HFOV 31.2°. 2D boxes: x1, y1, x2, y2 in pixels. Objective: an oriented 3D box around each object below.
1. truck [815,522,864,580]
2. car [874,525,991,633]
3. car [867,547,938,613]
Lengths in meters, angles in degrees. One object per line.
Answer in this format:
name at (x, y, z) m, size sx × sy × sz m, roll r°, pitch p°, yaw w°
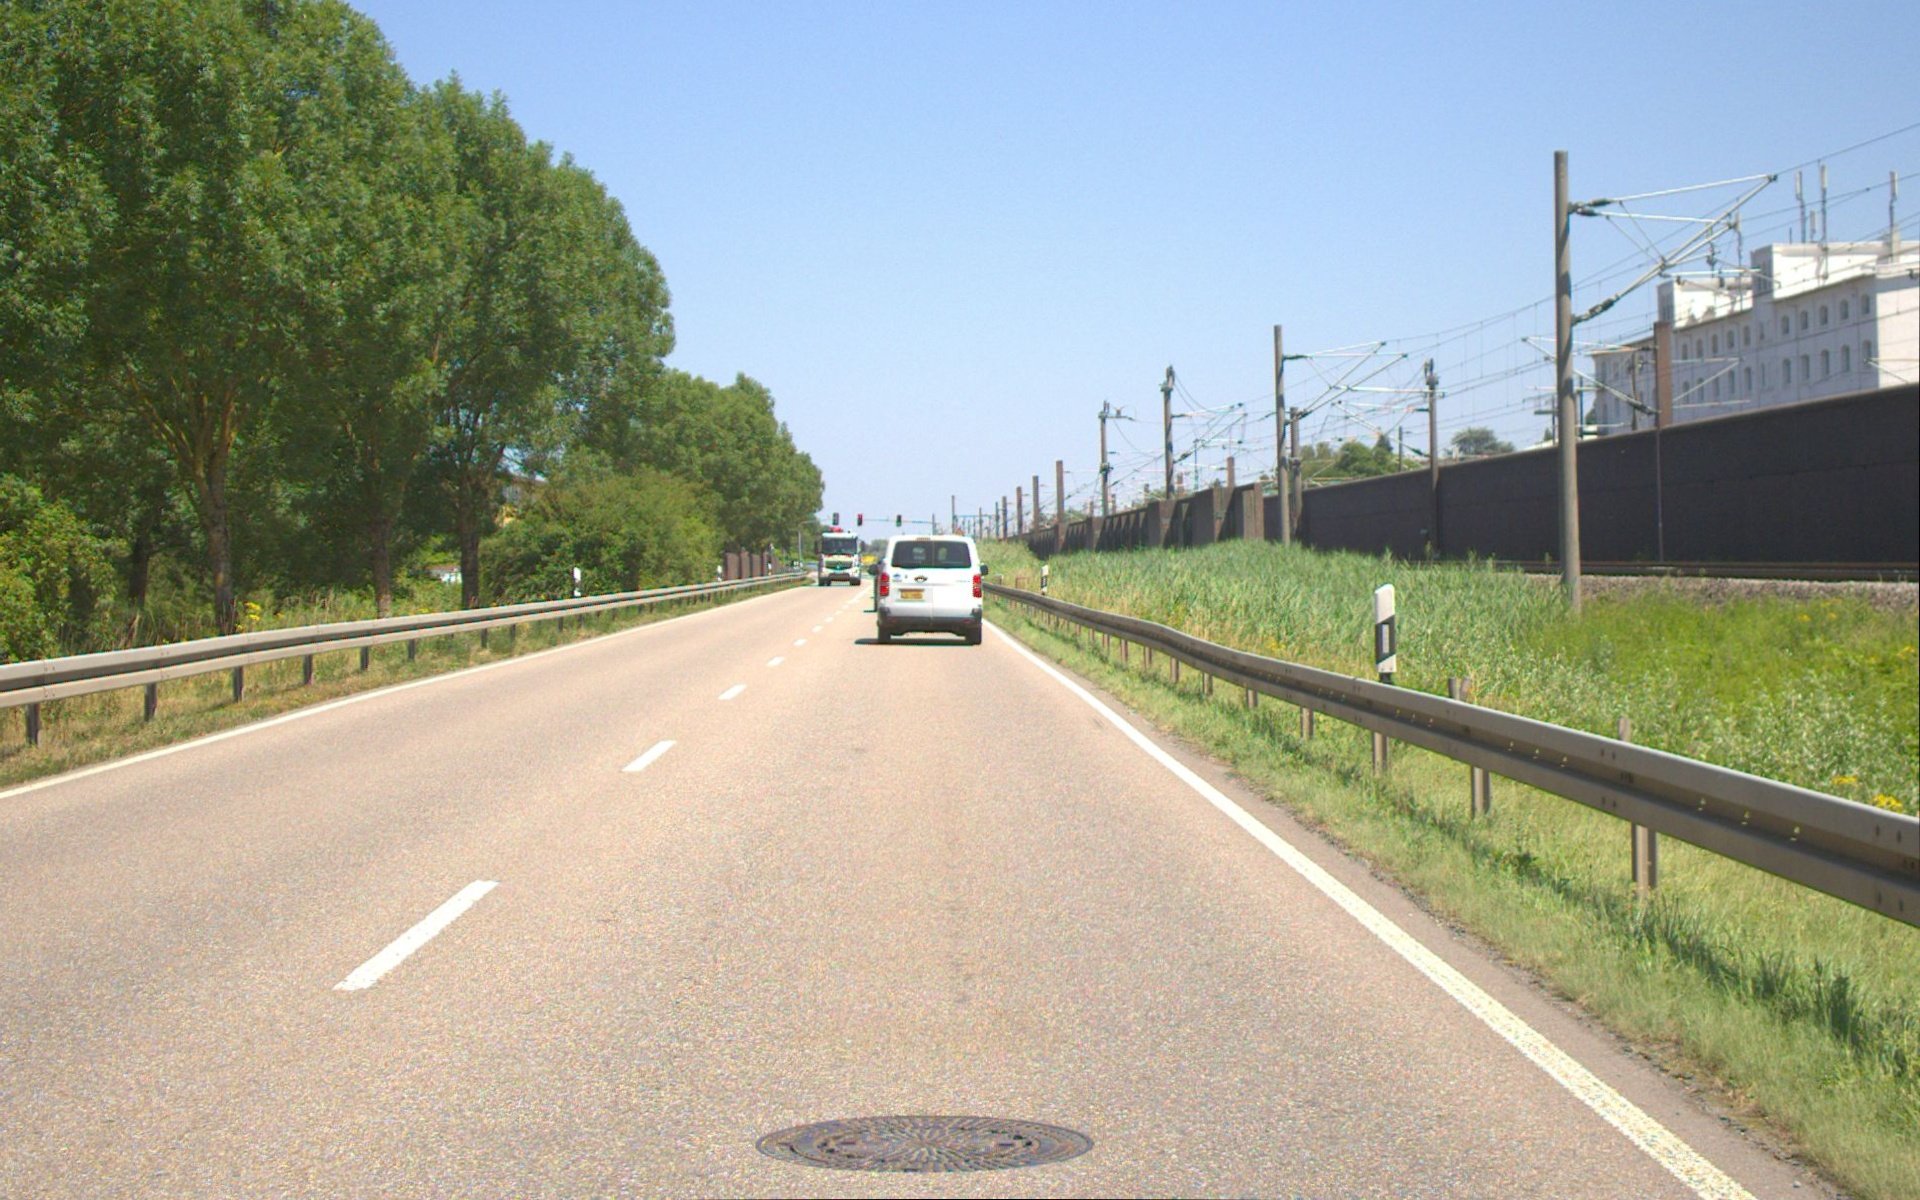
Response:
truck at (-7.255, -2.968, 207.338) m, size 2.783 × 3.393 × 7.989 m, roll 1°, pitch 1°, yaw -1°
car at (-0.509, -0.391, 61.550) m, size 1.993 × 1.843 × 4.000 m, roll 1°, pitch 1°, yaw -1°
car at (-1.673, -0.593, 99.748) m, size 1.993 × 1.843 × 4.000 m, roll 1°, pitch 1°, yaw -1°
